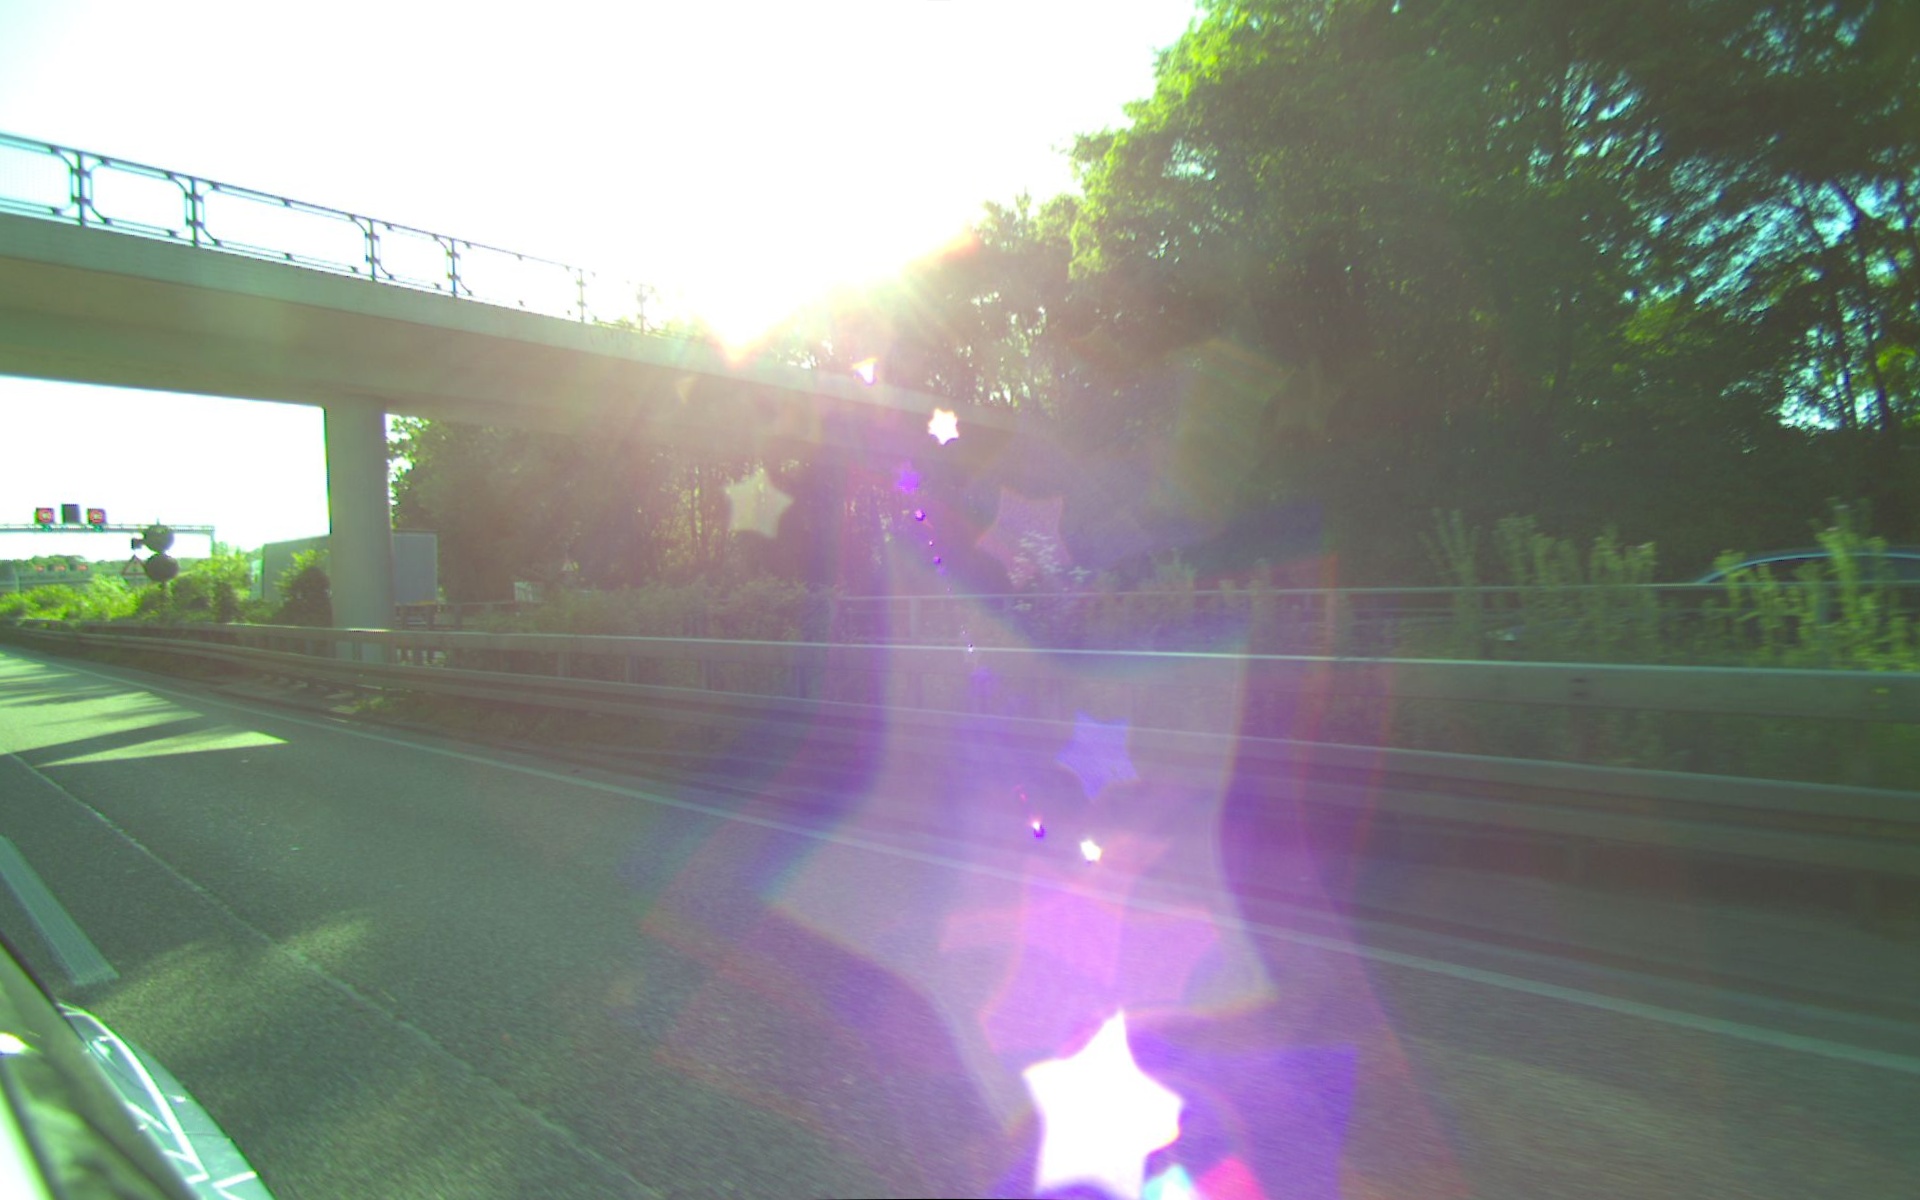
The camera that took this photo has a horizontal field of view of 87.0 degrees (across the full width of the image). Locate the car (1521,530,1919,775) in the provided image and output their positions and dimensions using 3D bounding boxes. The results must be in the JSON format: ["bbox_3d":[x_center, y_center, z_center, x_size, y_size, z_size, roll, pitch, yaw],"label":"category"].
[{"bbox_3d":[7.036,0.350,8.137,4.108,1.729,1.877,-1,1,41],"label":"car"}]

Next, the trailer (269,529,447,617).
[{"bbox_3d":[-25.161,-0.965,41.866,11.913,3.192,2.899,-1,0,42],"label":"trailer"}]

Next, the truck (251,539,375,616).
[{"bbox_3d":[-29.252,-0.925,45.616,7.081,3.192,2.899,-1,0,42],"label":"truck"}]

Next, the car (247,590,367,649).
[{"bbox_3d":[-20.799,0.608,32.144,4.738,1.699,1.973,-1,1,41],"label":"car"}]

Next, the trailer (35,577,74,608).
[{"bbox_3d":[-123.528,-1.016,137.957,14.032,4.018,2.989,-1,0,44],"label":"trailer"}]
